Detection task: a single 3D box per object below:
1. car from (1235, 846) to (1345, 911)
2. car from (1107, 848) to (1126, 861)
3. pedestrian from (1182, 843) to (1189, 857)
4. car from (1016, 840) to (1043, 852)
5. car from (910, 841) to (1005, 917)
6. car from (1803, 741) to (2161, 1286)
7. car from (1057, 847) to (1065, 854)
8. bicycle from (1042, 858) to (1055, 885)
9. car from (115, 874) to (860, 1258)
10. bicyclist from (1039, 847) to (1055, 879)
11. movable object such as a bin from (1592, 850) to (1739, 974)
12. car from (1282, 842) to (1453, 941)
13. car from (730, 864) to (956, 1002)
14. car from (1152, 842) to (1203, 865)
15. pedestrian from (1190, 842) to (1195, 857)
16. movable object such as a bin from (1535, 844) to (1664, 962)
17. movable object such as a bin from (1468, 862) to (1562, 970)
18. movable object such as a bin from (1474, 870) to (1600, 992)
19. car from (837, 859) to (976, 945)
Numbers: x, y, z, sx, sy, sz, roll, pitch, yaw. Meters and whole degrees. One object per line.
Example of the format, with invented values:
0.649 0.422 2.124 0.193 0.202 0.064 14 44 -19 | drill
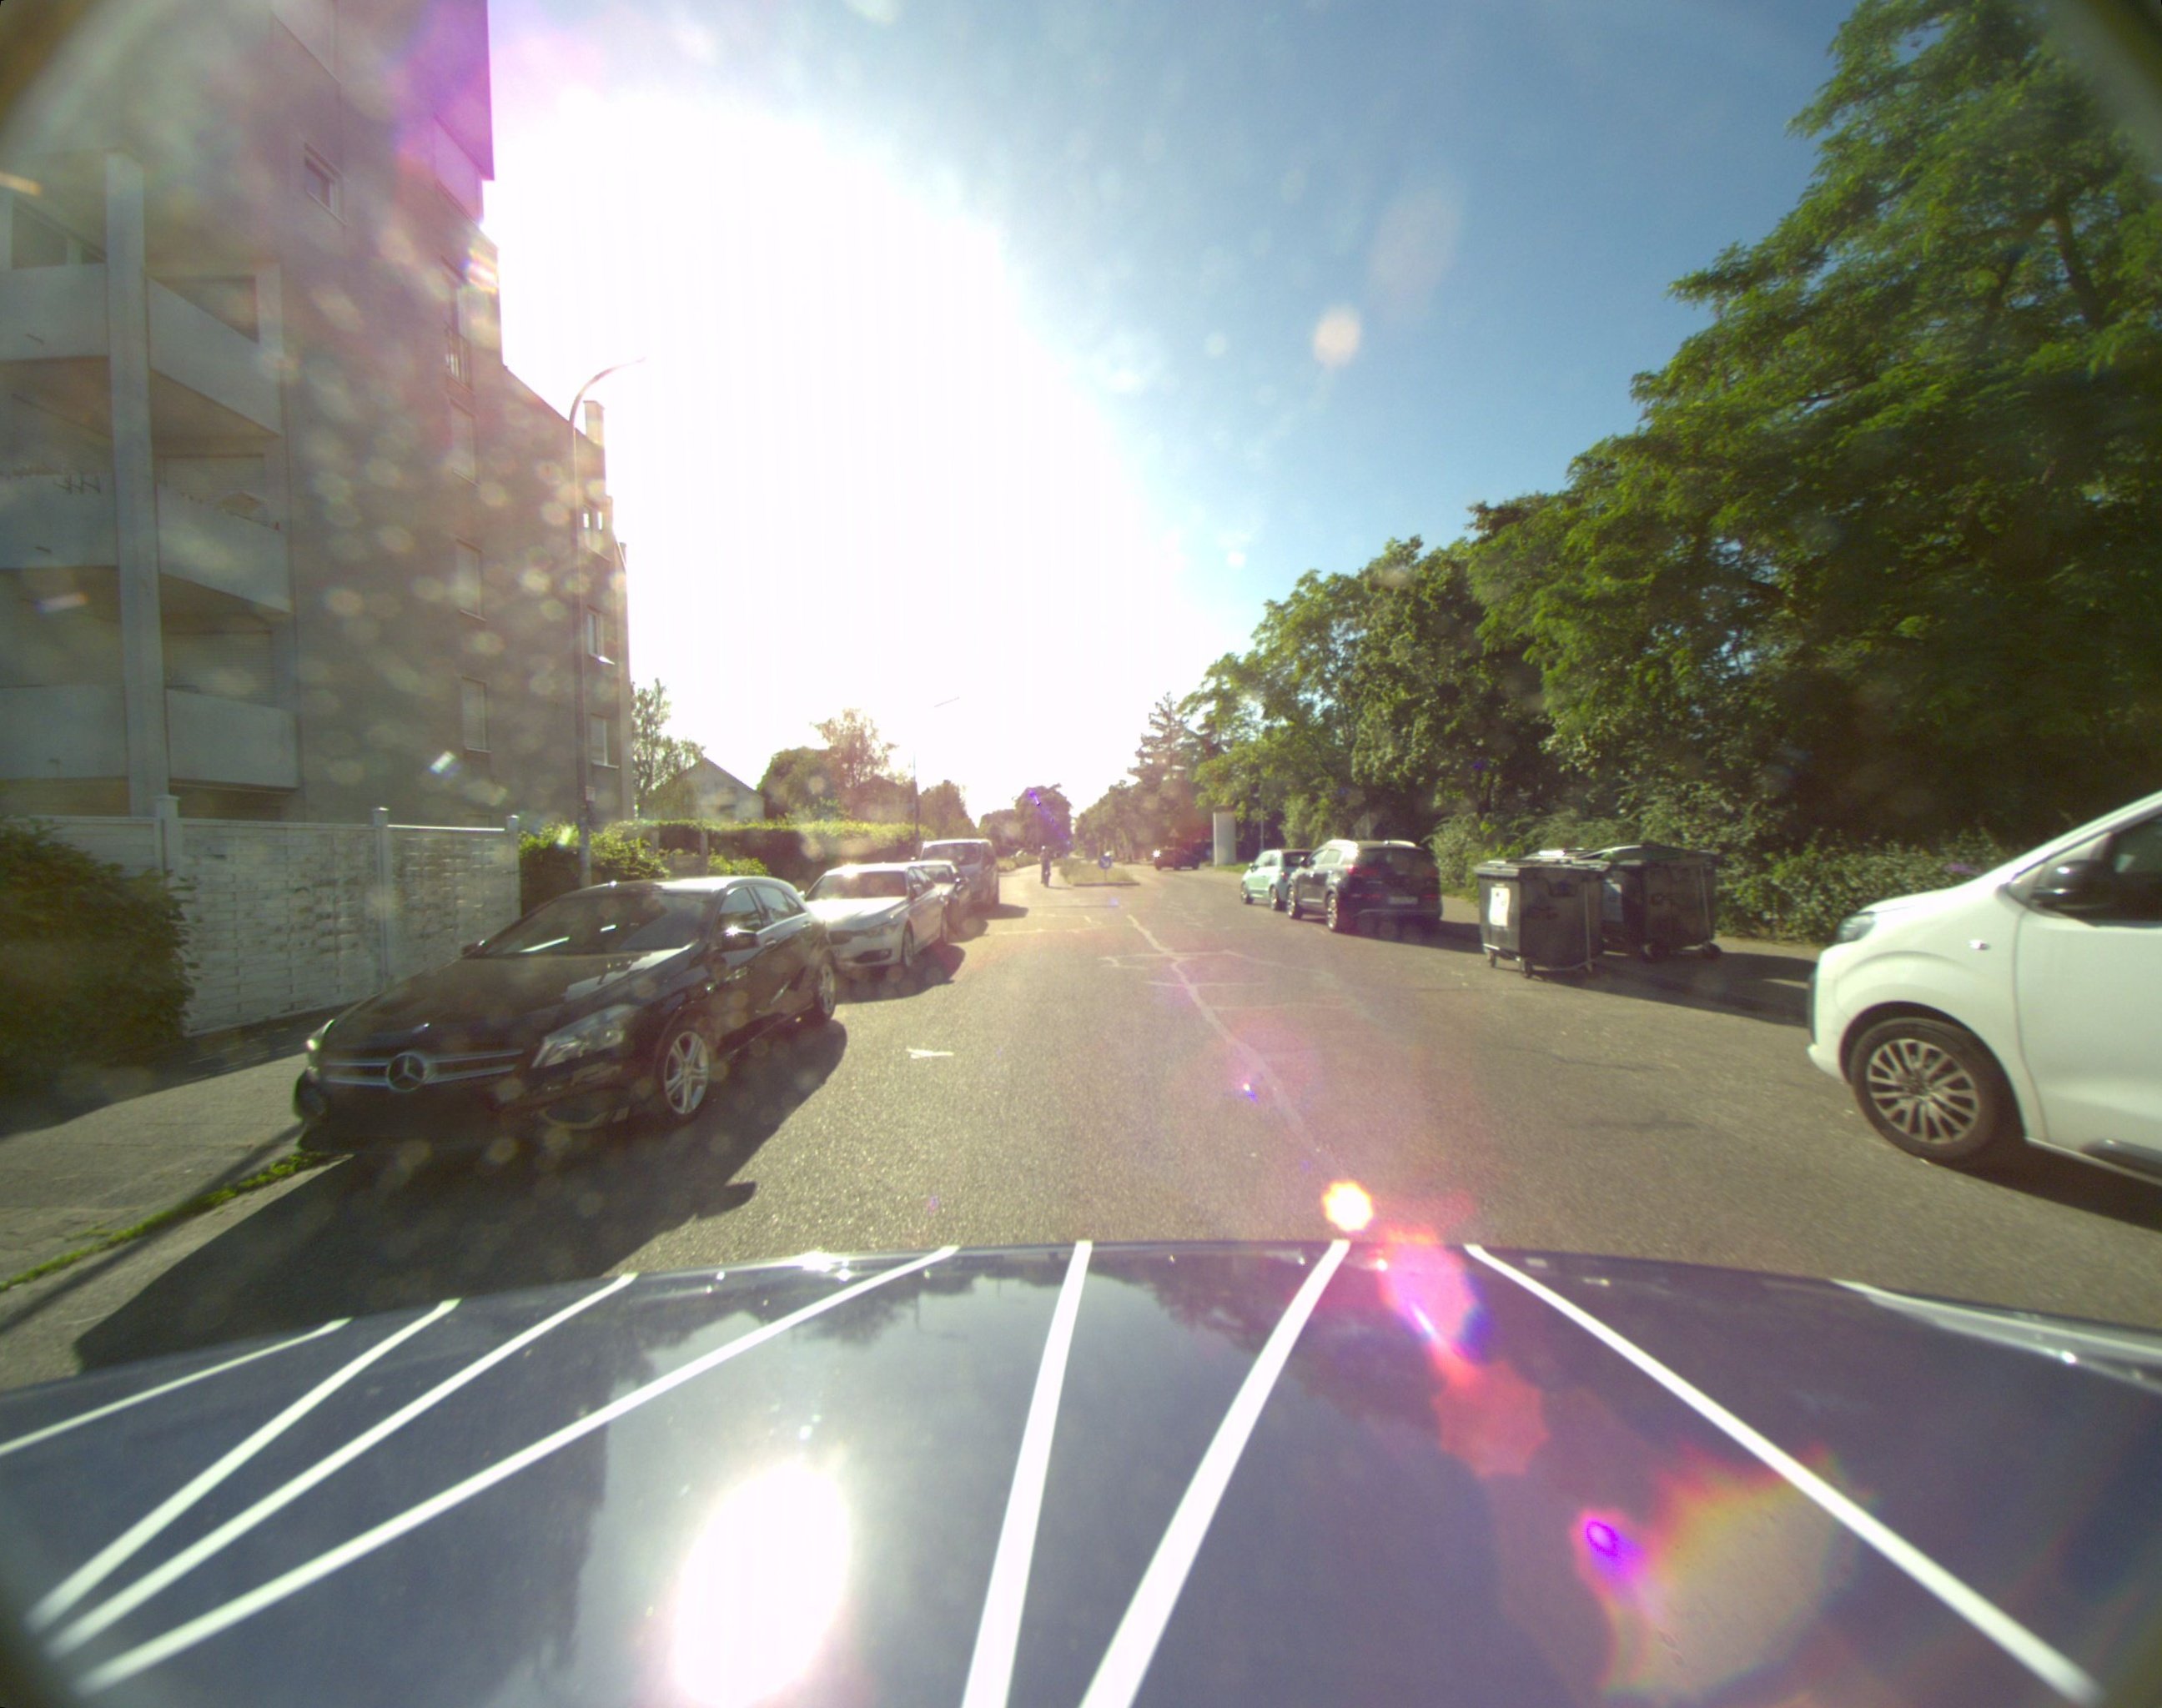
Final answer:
5.331 0.574 19.831 1.631 1.519 3.417 -1 1 -6 | car
4.918 0.087 105.771 2.000 1.649 3.997 -1 1 -7 | car
11.273 -0.452 82.064 0.539 1.512 0.395 -2 2 -26 | pedestrian
-7.654 -1.199 112.784 3.657 1.707 1.744 -2 1 -37 | car
-3.405 0.609 21.906 1.999 1.901 4.952 -1 1 -1 | car
4.774 0.568 1.737 1.868 1.950 4.670 -1 1 1 | car
-5.442 -1.079 204.744 1.999 1.805 3.999 -1 1 -1 | car
-1.413 0.741 32.854 0.458 1.138 1.897 -1 1 -4 | bicycle
-3.233 0.993 5.521 1.914 1.480 4.374 -1 1 0 | car
-1.462 0.392 32.935 0.638 1.340 0.838 -1 1 -4 | bicyclist
6.944 0.649 9.072 1.064 1.392 0.893 0 1 -9 | movable object such as a bin
5.291 0.605 14.679 1.679 1.629 4.250 0 1 0 | car
-3.197 0.975 11.261 1.914 1.480 4.374 -1 1 0 | car
7.322 -0.057 57.388 1.913 1.696 4.194 1 1 39 | car
12.006 -0.507 81.775 0.396 1.552 0.538 0 2 1 | pedestrian
6.834 0.616 10.051 1.064 1.459 0.893 -1 0 -9 | movable object such as a bin
5.831 0.801 10.285 0.610 1.332 1.269 -1 1 4 | movable object such as a bin
5.378 0.869 9.061 0.805 1.308 1.322 -1 0 7 | movable object such as a bin
-3.458 0.874 16.086 1.999 1.409 4.921 -1 1 -3 | car
